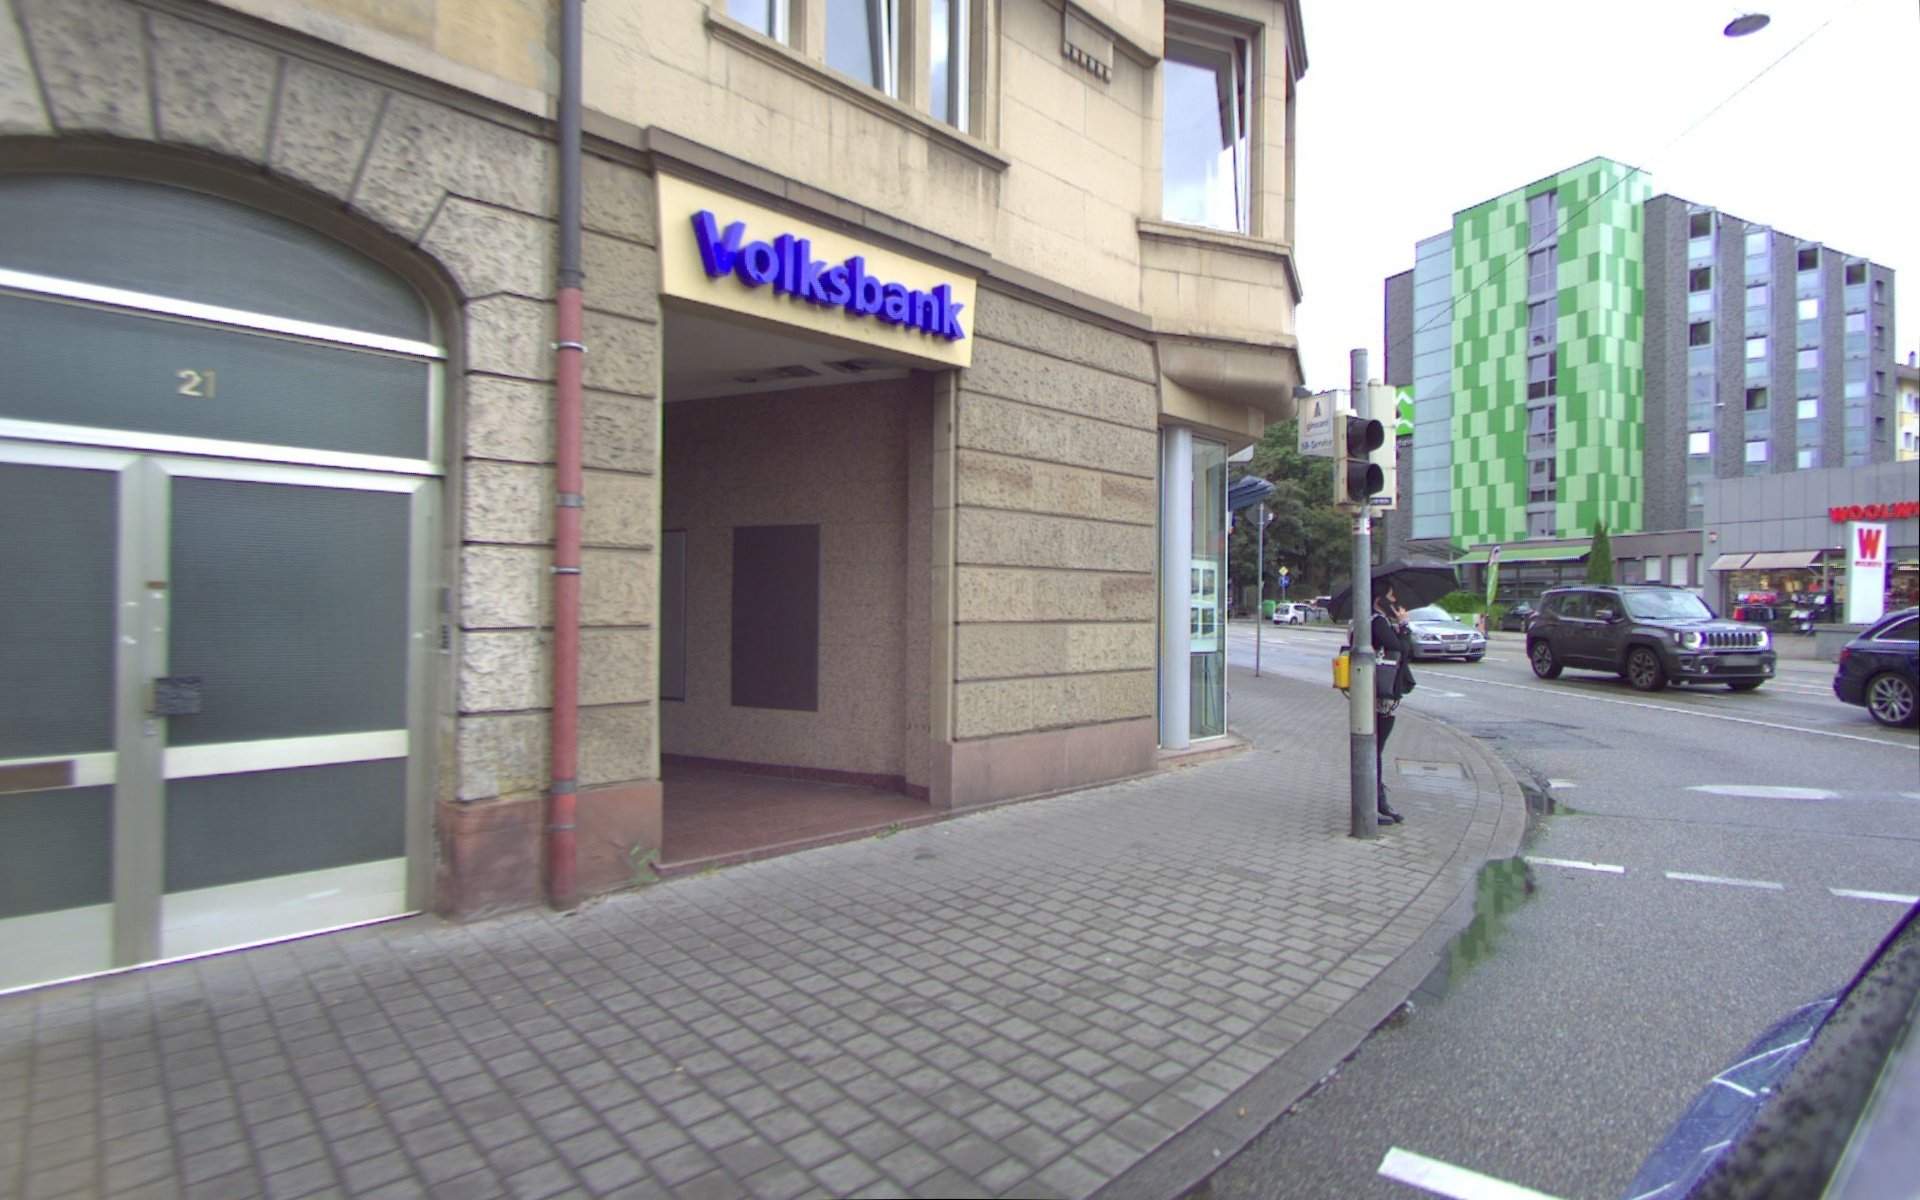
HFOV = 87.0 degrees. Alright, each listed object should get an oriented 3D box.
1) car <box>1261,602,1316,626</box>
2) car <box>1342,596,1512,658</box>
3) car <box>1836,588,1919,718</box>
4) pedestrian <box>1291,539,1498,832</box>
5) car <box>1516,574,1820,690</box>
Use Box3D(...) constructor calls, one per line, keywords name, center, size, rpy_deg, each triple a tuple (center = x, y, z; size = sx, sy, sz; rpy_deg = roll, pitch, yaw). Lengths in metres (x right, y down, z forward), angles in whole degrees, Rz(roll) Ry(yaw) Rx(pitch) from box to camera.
Box3D(name="car", center=(22.193, 0.904, 68.421), size=(3.385, 1.549, 1.667), rpy_deg=(-1, 0, -28))
Box3D(name="car", center=(11.112, 0.590, 24.445), size=(1.895, 1.299, 4.204), rpy_deg=(0, 1, -4))
Box3D(name="car", center=(11.530, 0.592, 9.907), size=(1.896, 1.434, 4.531), rpy_deg=(0, 0, -1))
Box3D(name="pedestrian", center=(3.004, 0.517, 6.979), size=(1.165, 1.802, 0.952), rpy_deg=(0, 0, -45))
Box3D(name="car", center=(11.525, 0.443, 16.903), size=(1.895, 1.681, 4.204), rpy_deg=(0, 0, -4))
